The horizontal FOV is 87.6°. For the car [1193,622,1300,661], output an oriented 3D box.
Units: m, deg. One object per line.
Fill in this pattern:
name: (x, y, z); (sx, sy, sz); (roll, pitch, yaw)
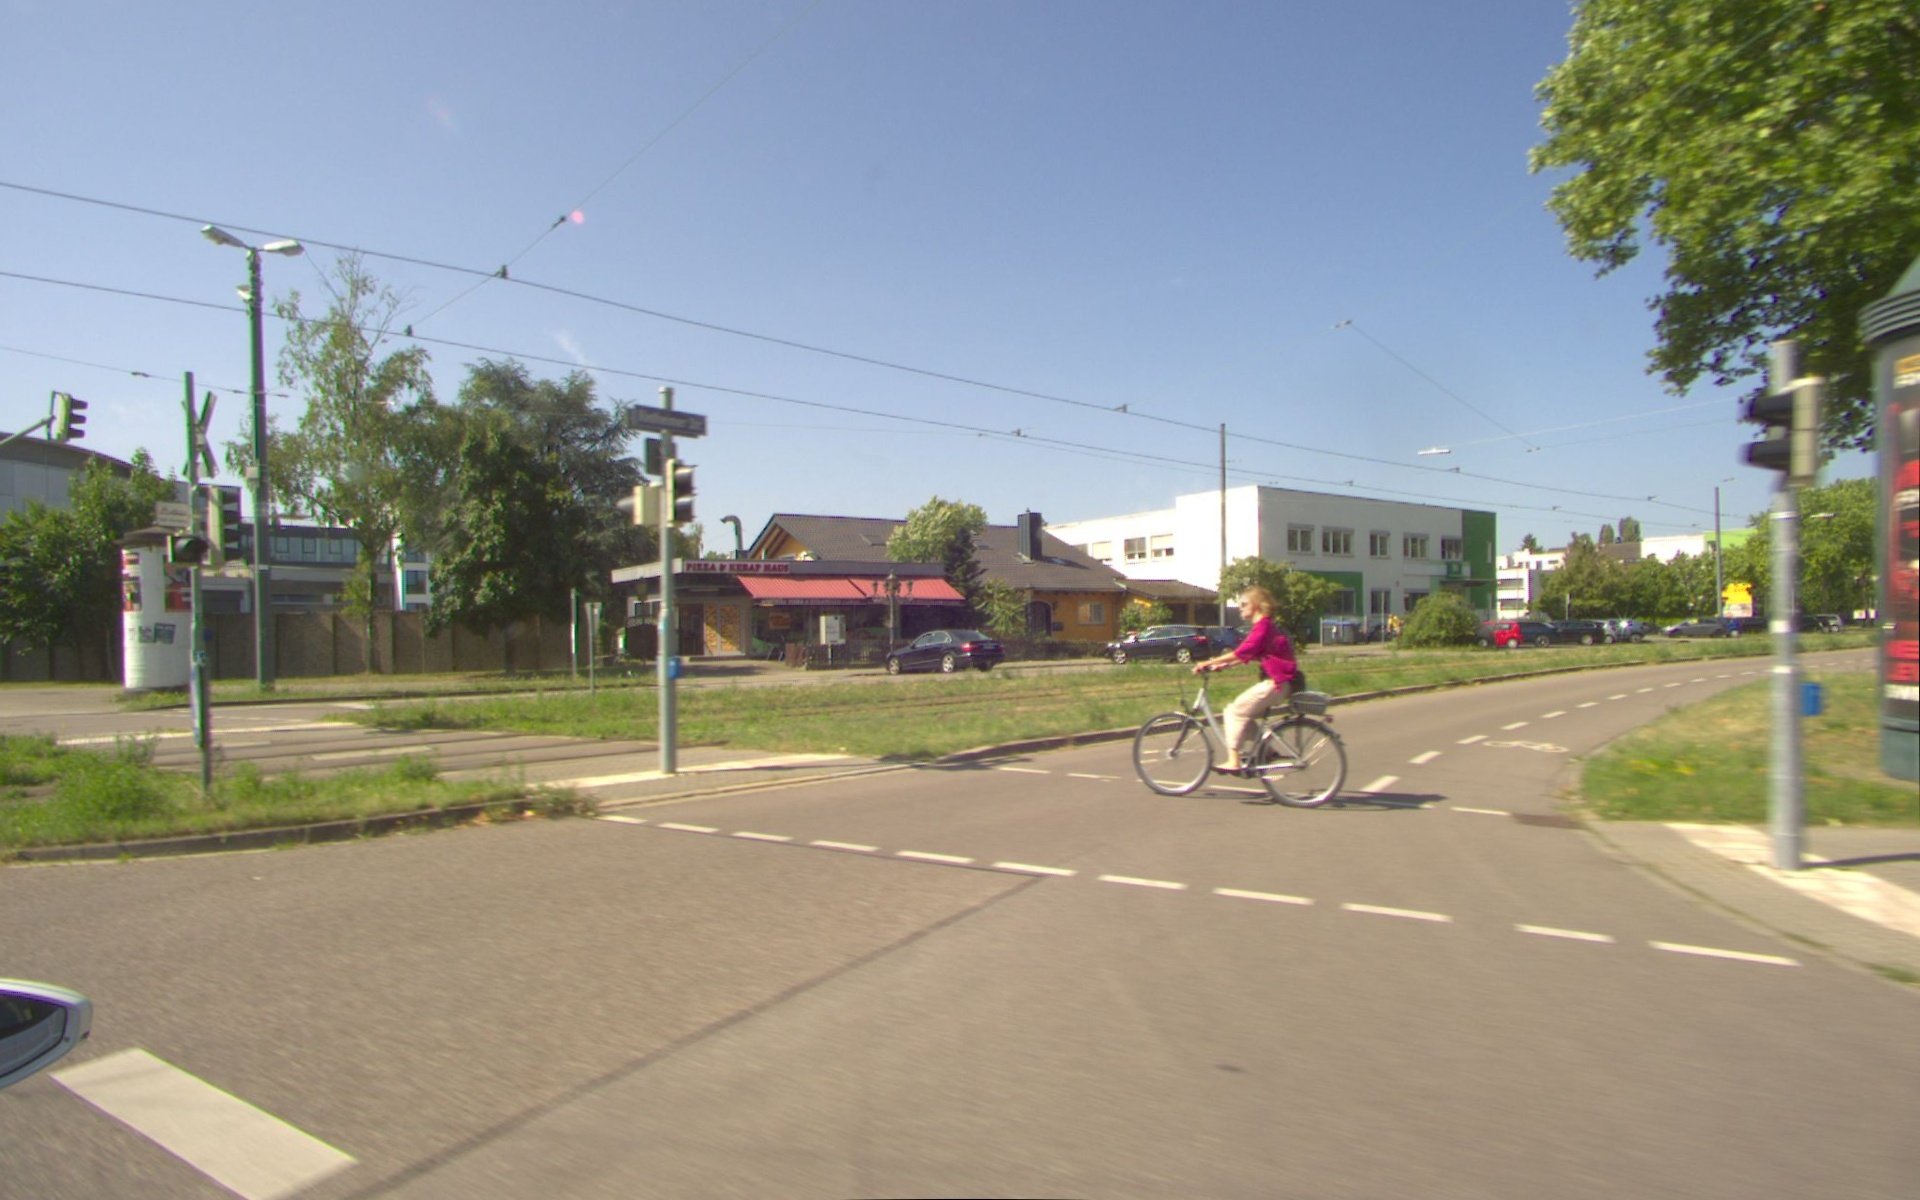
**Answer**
car: (12.418, 1.796, 43.457); (4.141, 1.640, 2.135); (-2, -2, 27)

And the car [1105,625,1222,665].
car: (8.111, 1.777, 39.823); (4.141, 1.517, 2.135); (-2, -2, 27)

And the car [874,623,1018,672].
car: (-0.563, 1.637, 33.934); (2.120, 1.517, 5.077); (0, -3, -41)

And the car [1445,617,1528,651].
car: (29.049, 1.880, 55.395); (3.936, 1.816, 1.994); (-1, -3, 26)

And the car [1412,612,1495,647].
car: (26.528, 1.621, 53.928); (3.936, 1.816, 1.994); (-1, -3, 26)

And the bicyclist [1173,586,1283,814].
bicyclist: (2.269, 0.809, 8.436); (0.797, 1.810, 0.701); (-1, 0, 22)

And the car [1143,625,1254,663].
car: (9.933, 1.843, 41.722); (4.141, 1.517, 2.135); (-2, -2, 27)

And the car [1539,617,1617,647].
car: (38.674, 2.042, 62.804); (3.936, 1.816, 1.994); (-1, -3, 26)

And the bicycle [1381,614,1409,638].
bicycle: (24.323, 1.447, 55.961); (0.766, 1.343, 1.214); (-1, -1, -26)

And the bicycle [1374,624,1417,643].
bicycle: (24.351, 1.870, 55.964); (2.095, 1.060, 1.107); (0, -1, -27)

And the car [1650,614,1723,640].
car: (52.443, 1.952, 72.403); (3.936, 1.816, 1.994); (-1, -3, 26)

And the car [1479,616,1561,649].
car: (31.749, 1.866, 56.909); (3.936, 1.816, 1.994); (-1, -3, 26)

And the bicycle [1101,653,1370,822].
bicycle: (2.305, 1.100, 8.424); (2.089, 1.201, 0.692); (1, 0, 22)

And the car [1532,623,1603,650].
car: (36.506, 2.198, 60.226); (3.385, 1.555, 1.565); (-1, -1, 20)

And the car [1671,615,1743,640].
car: (55.275, 2.051, 74.143); (3.936, 1.817, 1.994); (-1, -1, 26)

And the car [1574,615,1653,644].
car: (41.632, 1.907, 63.889); (3.936, 1.816, 1.994); (-1, -3, 26)
